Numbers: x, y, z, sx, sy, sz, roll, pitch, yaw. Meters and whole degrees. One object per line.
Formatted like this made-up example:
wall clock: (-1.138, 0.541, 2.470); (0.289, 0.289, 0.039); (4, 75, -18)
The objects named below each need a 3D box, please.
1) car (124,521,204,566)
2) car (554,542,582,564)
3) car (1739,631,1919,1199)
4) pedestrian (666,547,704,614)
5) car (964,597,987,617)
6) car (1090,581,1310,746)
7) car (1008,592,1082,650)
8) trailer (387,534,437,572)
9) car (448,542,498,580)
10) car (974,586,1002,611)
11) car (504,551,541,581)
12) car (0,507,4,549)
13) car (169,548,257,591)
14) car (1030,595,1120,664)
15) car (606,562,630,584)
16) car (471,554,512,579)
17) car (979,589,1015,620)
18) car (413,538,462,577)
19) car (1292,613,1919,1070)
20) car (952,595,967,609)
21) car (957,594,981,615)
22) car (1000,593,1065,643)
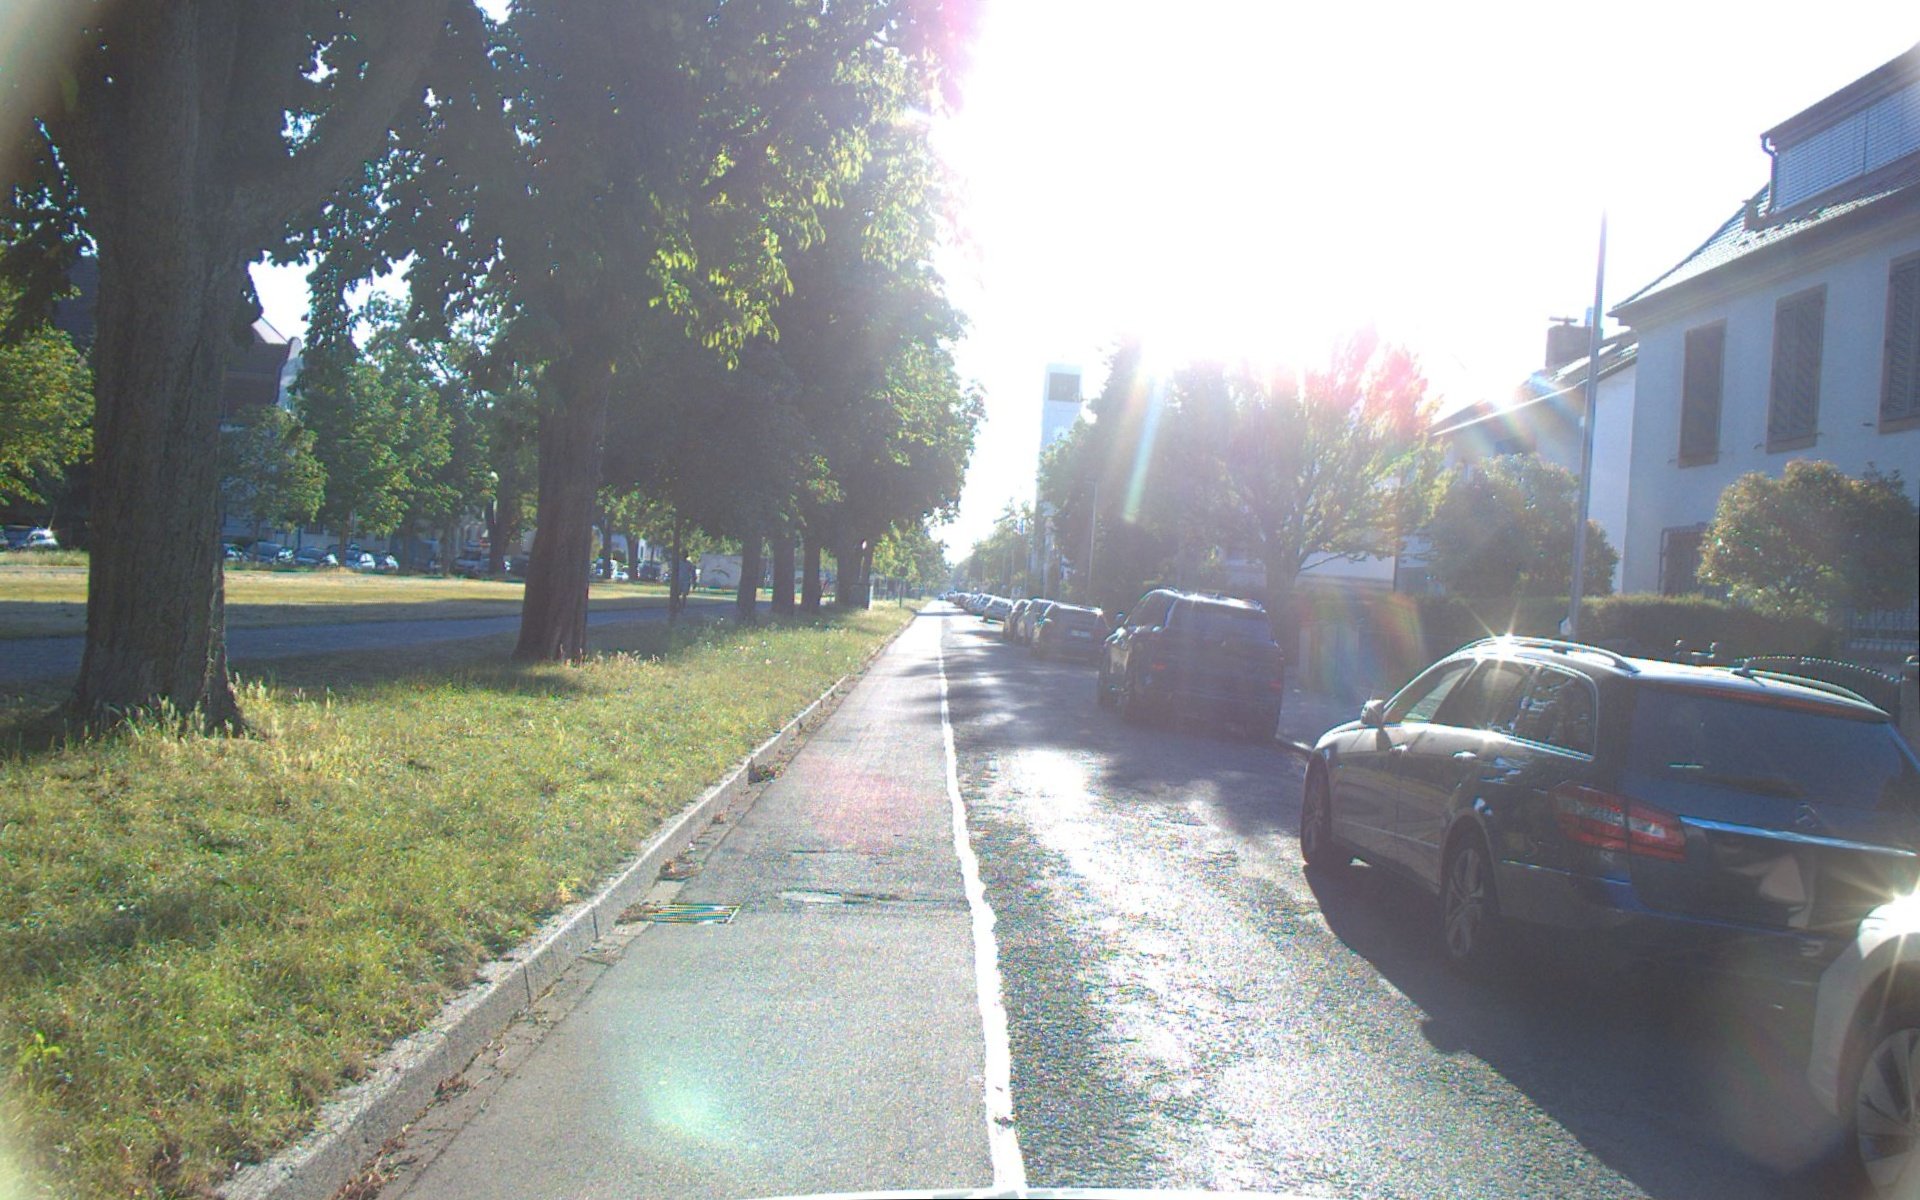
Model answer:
car: (-39.974, -2.802, 83.152); (1.990, 2.049, 4.000); (2, 0, 0)
car: (-41.414, -4.985, 174.778); (1.953, 2.049, 4.483); (2, -1, -1)
car: (3.548, 0.935, 2.819); (1.957, 1.487, 4.547); (12, -3, -2)
pedestrian: (-7.609, -0.543, 45.780); (0.709, 1.788, 0.994); (4, 0, 6)
car: (1.399, 0.633, 148.655); (1.726, 1.547, 3.998); (6, 0, -2)
car: (3.133, 0.765, 22.646); (1.955, 1.766, 4.862); (8, 0, -2)
car: (2.667, 0.634, 52.660); (1.659, 1.507, 3.925); (8, 0, -5)
trailer: (-39.964, -3.401, 120.690); (1.953, 2.470, 4.723); (4, 0, 0)
car: (-40.372, -3.204, 137.167); (2.388, 2.973, 5.817); (2, 0, -1)
car: (1.981, -0.127, 118.212); (1.723, 1.632, 4.357); (4, 0, -2)
car: (-34.747, -2.688, 131.395); (1.650, 2.213, 4.314); (4, 1, 0)
car: (-33.787, -2.249, 54.605); (1.954, 2.048, 4.000); (5, 0, 0)
car: (-34.031, -1.370, 75.443); (1.953, 1.713, 4.001); (5, 0, 2)
car: (2.876, 0.727, 42.167); (1.757, 1.518, 4.673); (5, 0, -1)
car: (-41.145, -3.261, 199.063); (1.953, 2.451, 4.362); (2, 0, 0)
car: (-34.251, -2.430, 121.097); (1.650, 1.586, 4.314); (4, 0, 0)
car: (2.111, 0.252, 94.921); (1.723, 1.443, 4.071); (10, 0, 0)
car: (-40.059, -3.262, 126.987); (1.953, 2.719, 5.186); (4, 0, 0)
car: (3.150, 0.946, 8.474); (1.745, 1.487, 4.593); (7, 0, -1)
car: (-0.046, 0.308, 220.040); (1.940, 1.712, 4.000); (4, 0, 0)
car: (0.766, 0.348, 138.676); (1.723, 1.632, 4.357); (4, 0, -2)
car: (2.486, 0.597, 57.671); (1.715, 1.502, 4.285); (6, 0, -3)
